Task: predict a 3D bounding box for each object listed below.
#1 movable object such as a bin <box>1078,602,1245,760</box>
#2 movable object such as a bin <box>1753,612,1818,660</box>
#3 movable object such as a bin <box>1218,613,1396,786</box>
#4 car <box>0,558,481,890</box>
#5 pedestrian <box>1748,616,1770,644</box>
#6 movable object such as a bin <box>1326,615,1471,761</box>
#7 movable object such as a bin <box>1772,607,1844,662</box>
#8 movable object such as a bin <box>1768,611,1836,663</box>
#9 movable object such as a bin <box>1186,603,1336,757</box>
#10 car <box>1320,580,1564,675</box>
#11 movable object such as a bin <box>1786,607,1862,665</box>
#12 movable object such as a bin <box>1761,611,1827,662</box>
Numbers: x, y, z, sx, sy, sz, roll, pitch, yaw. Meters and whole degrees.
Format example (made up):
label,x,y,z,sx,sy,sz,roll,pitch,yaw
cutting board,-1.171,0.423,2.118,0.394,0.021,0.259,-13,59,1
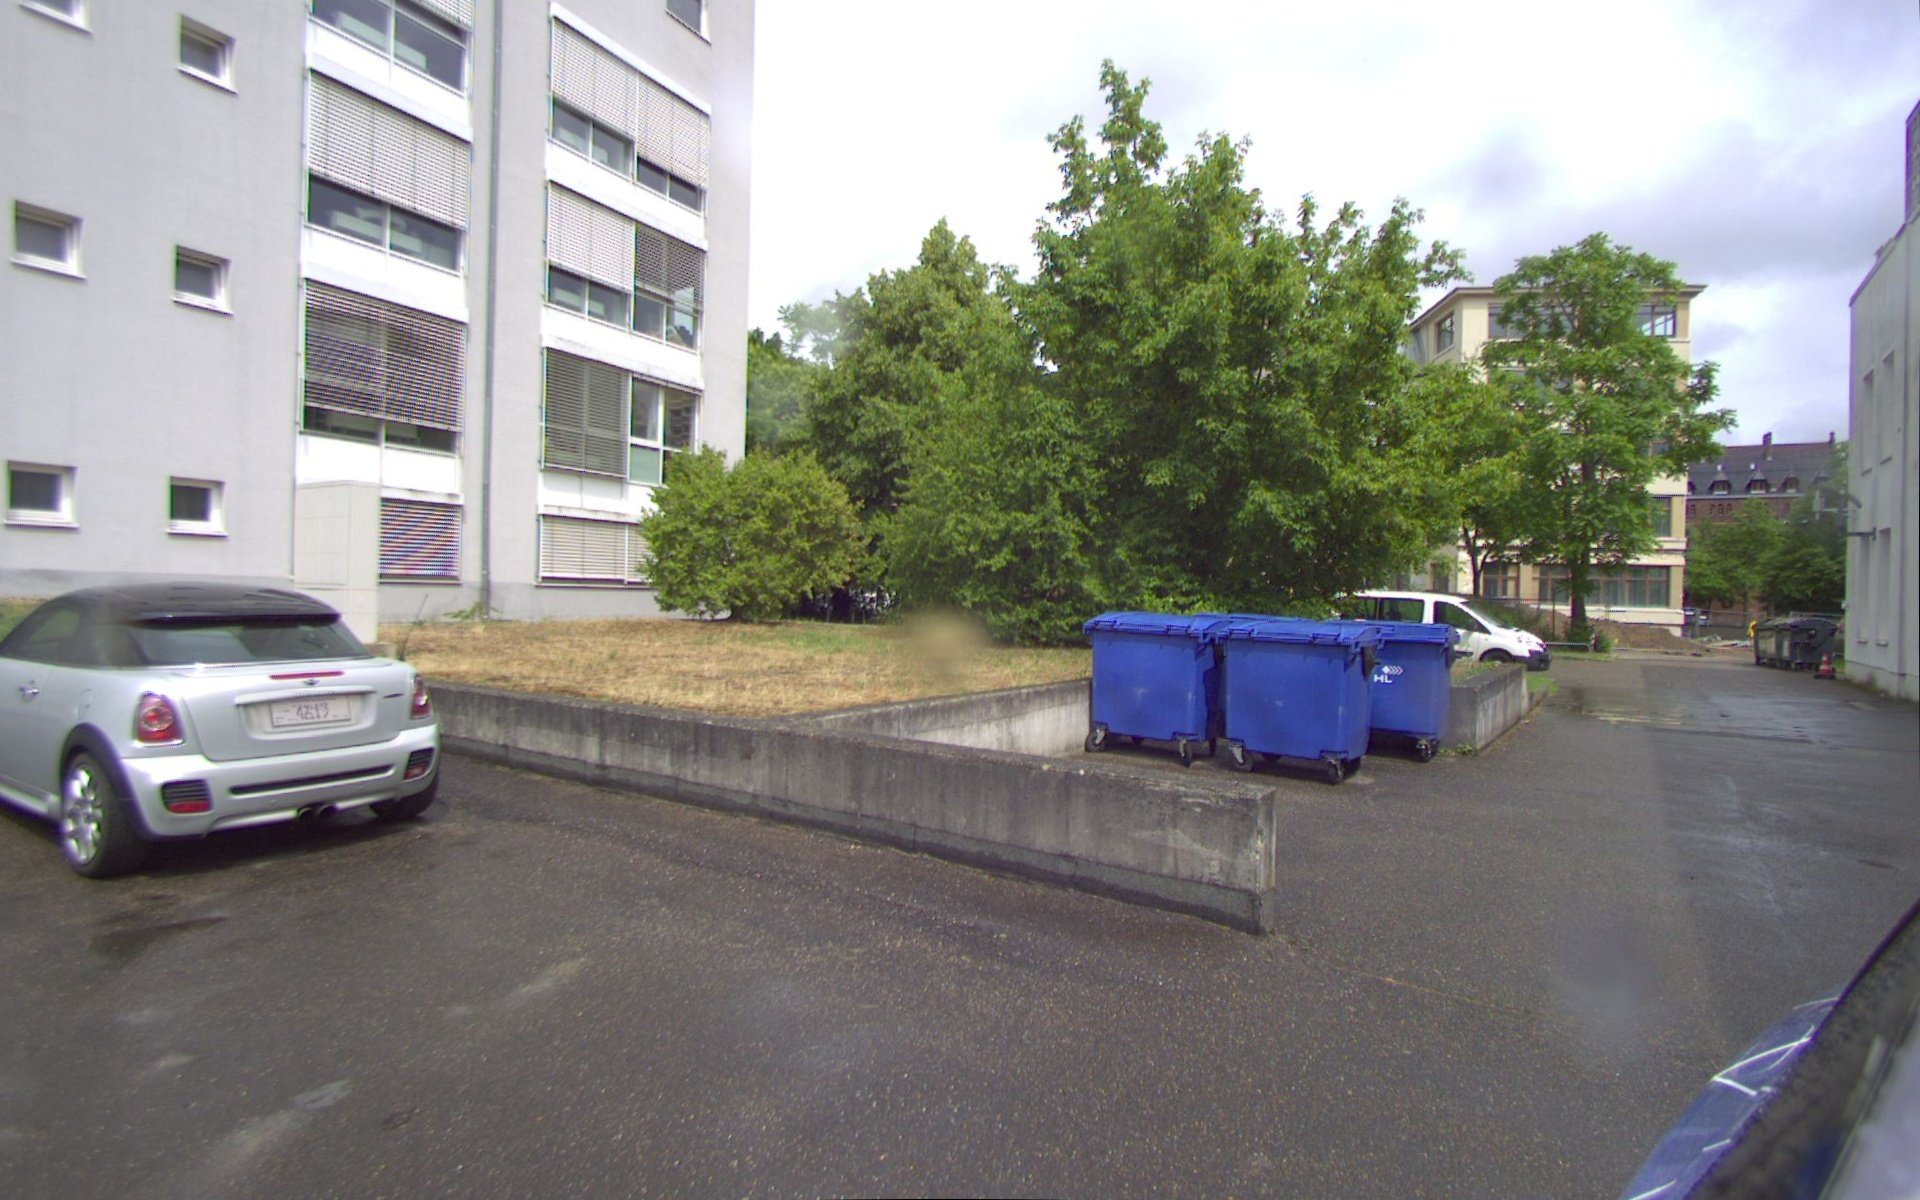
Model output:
label,x,y,z,sx,sy,sz,roll,pitch,yaw
movable object such as a bin,1.921,0.718,9.612,1.225,1.334,1.043,2,0,34
movable object such as a bin,26.160,1.125,32.103,1.403,1.489,1.542,0,-2,33
movable object such as a bin,3.046,0.808,8.861,1.225,1.334,1.043,2,0,34
car,-4.989,0.503,6.372,3.973,1.371,1.769,4,2,34
pedestrian,43.679,1.632,55.331,0.636,1.528,0.626,2,0,-7
movable object such as a bin,4.393,0.828,10.119,1.169,1.334,1.043,0,-2,33
movable object such as a bin,23.745,0.954,28.373,1.354,1.489,1.349,0,-2,33
movable object such as a bin,24.533,1.062,29.537,1.354,1.489,1.336,0,-2,33
movable object such as a bin,3.187,0.792,10.699,1.270,1.502,1.088,0,-2,33
car,11.282,0.559,23.872,4.925,2.039,1.973,1,0,38
movable object such as a bin,22.938,0.931,26.912,1.354,1.489,1.349,0,-2,33
movable object such as a bin,25.305,1.083,30.745,1.354,1.489,1.447,0,-2,33
